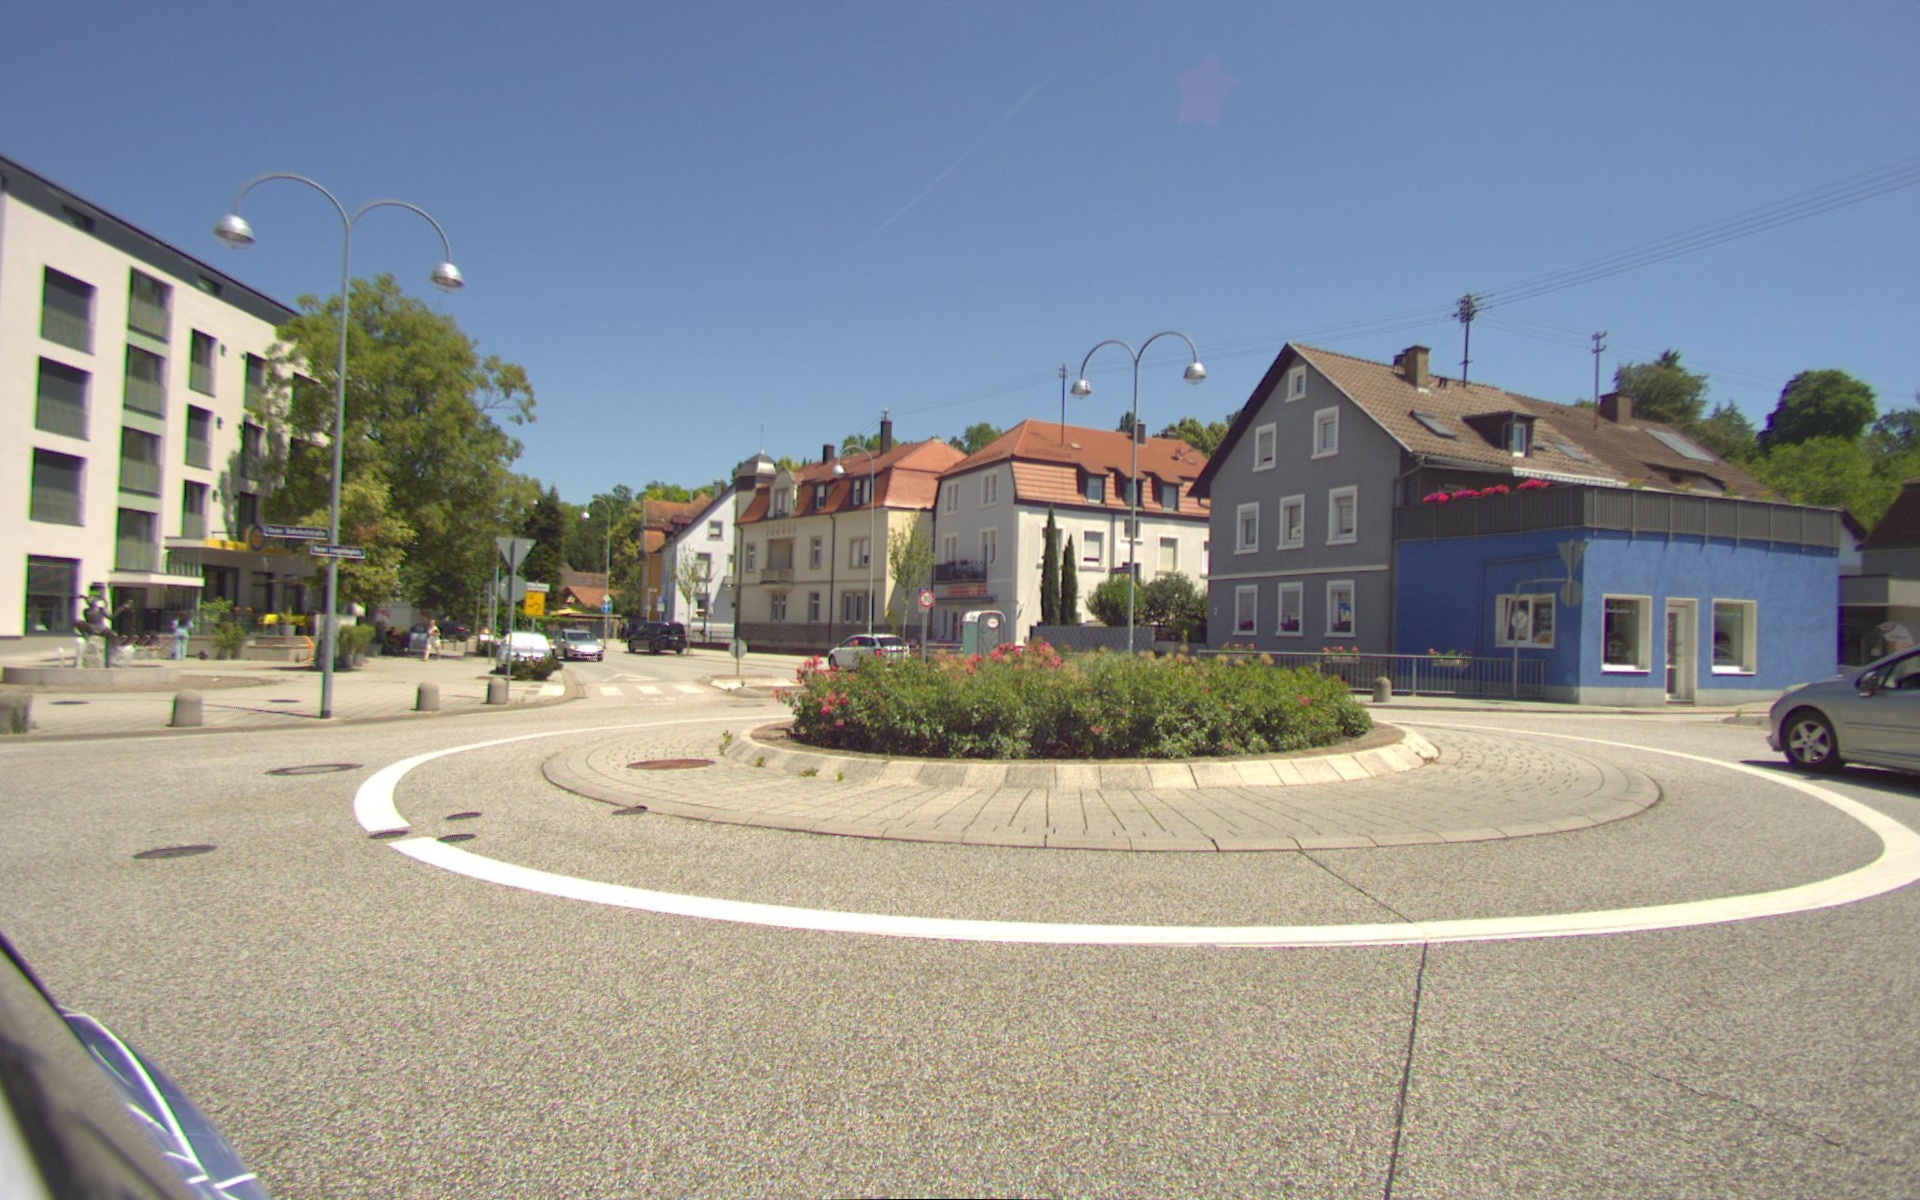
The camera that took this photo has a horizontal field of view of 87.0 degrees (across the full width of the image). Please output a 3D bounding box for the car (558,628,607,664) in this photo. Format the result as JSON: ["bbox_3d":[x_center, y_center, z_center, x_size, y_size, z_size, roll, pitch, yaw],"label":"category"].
[{"bbox_3d":[-18.470,2.218,49.383,1.965,1.668,4.217,2,-2,-24],"label":"car"}]

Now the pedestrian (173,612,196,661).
[{"bbox_3d":[-26.204,1.221,34.201,0.442,1.631,0.452,2,-2,-20],"label":"pedestrian"}]

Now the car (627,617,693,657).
[{"bbox_3d":[-17.047,2.061,57.424,1.970,2.029,4.004,2,0,-44],"label":"car"}]

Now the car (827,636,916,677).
[{"bbox_3d":[-3.464,2.130,39.019,1.582,1.402,4.089,-1,0,-34],"label":"car"}]

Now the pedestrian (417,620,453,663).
[{"bbox_3d":[-20.676,1.632,39.847,0.946,1.661,0.811,0,-2,27],"label":"pedestrian"}]

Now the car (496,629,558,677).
[{"bbox_3d":[-14.784,1.768,34.453,1.765,1.536,4.013,2,-2,-25],"label":"car"}]

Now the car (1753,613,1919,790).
[{"bbox_3d":[9.194,0.925,8.484,1.722,1.528,4.207,3,-1,0],"label":"car"}]
